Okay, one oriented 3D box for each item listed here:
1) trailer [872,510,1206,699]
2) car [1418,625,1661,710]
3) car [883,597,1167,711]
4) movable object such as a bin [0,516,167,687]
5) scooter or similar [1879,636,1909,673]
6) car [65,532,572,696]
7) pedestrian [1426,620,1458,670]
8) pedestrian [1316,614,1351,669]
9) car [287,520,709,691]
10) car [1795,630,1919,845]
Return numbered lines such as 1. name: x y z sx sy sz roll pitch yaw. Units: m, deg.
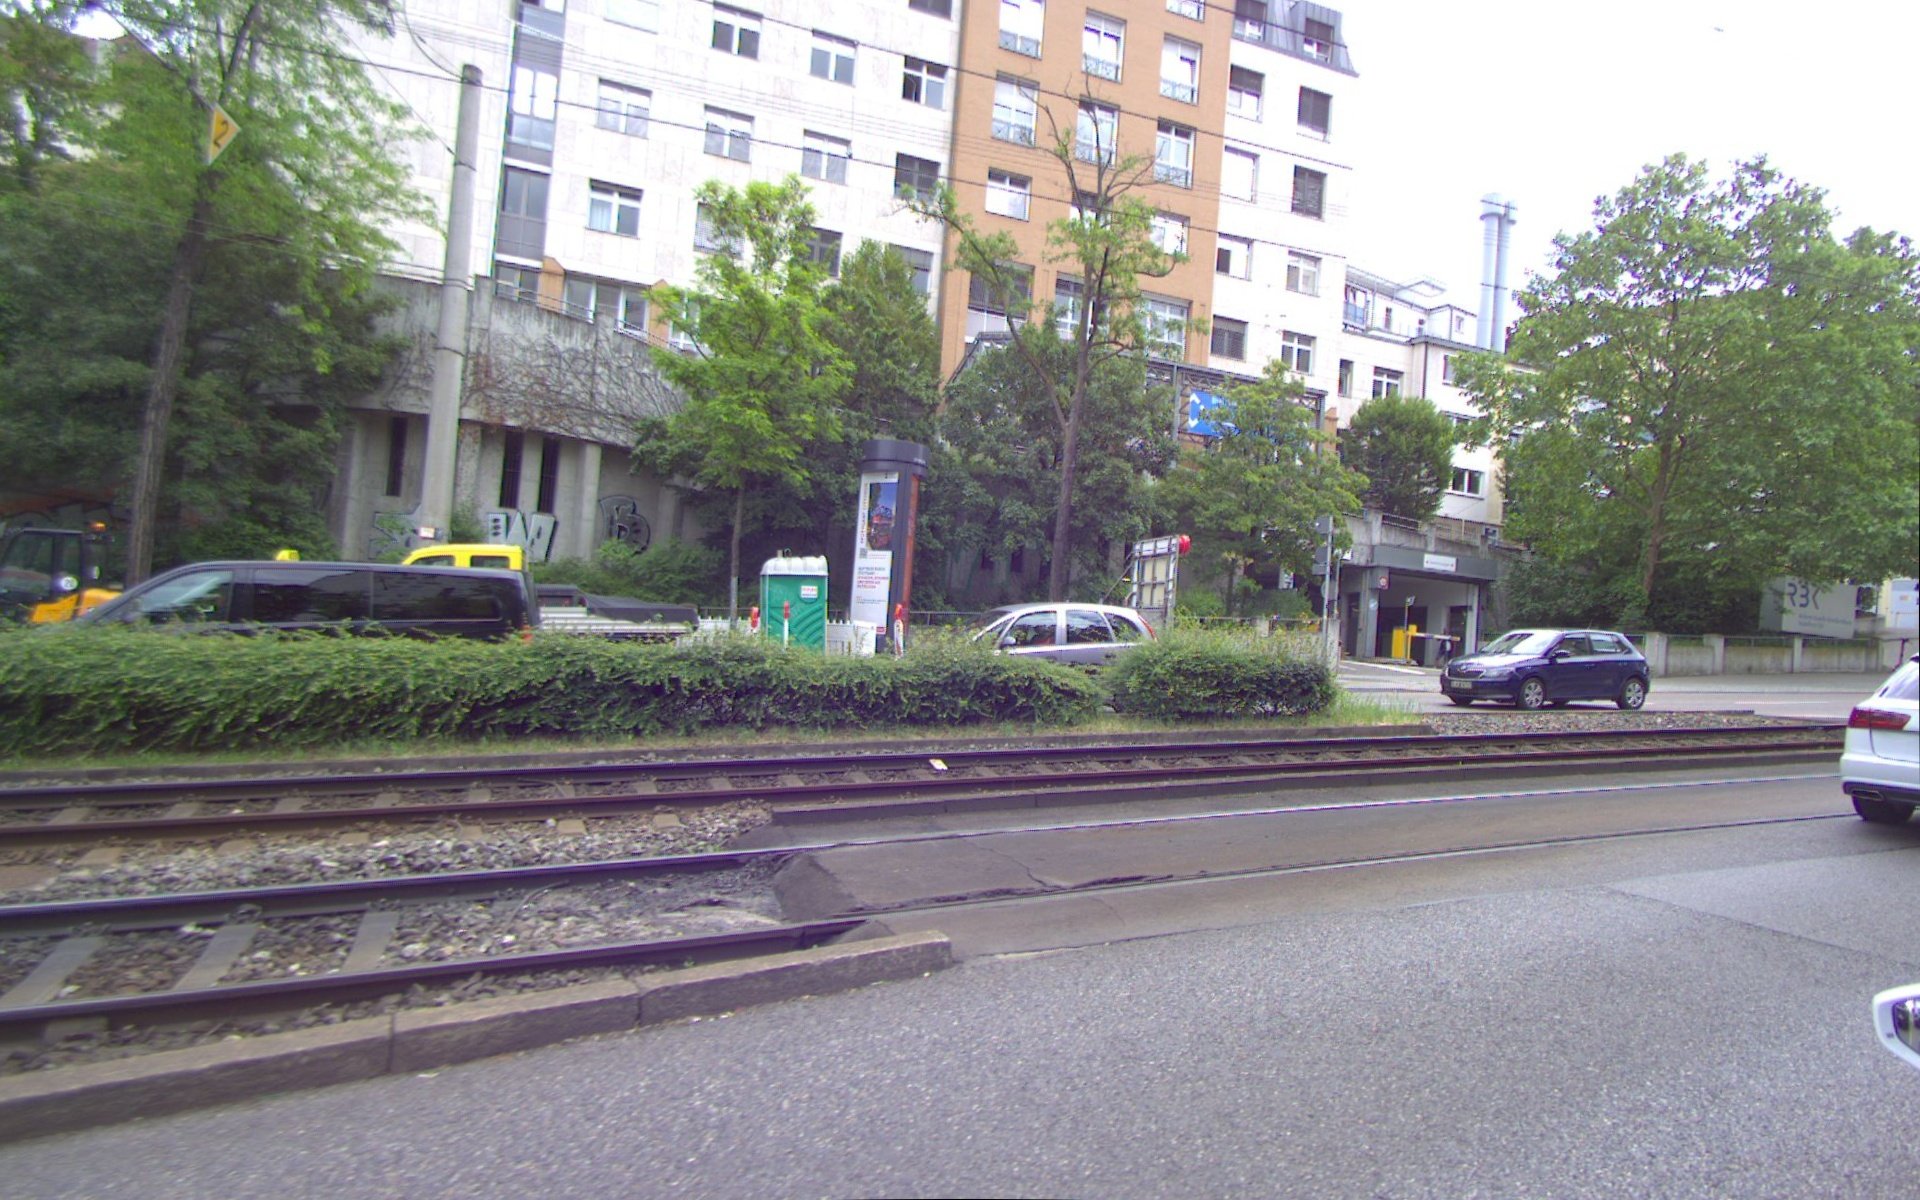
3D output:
1. trailer: 1.377 0.137 17.843 5.499 3.013 2.019 2 1 -17
2. car: 10.641 1.206 18.454 4.022 1.426 1.763 1 -1 -21
3. car: 0.897 0.751 14.265 3.680 1.462 1.658 1 -1 -18
4. movable object such as a bin: -15.019 -0.008 15.408 4.036 2.501 1.930 1 1 -21
5. scooter or similar: 32.716 1.917 35.178 1.627 1.235 0.485 2 1 -39
6. car: -6.982 0.207 11.607 4.538 1.626 1.992 1 -1 -19
7. pedestrian: 18.864 1.744 39.290 0.780 1.936 0.811 1 -1 -17
8. pedestrian: 10.932 1.199 29.416 0.650 1.581 0.724 1 -1 -30
9. car: -7.704 0.176 17.491 6.241 2.628 2.154 1 -1 -21
10. car: 8.733 1.000 7.865 4.561 1.474 1.871 1 -1 -29
